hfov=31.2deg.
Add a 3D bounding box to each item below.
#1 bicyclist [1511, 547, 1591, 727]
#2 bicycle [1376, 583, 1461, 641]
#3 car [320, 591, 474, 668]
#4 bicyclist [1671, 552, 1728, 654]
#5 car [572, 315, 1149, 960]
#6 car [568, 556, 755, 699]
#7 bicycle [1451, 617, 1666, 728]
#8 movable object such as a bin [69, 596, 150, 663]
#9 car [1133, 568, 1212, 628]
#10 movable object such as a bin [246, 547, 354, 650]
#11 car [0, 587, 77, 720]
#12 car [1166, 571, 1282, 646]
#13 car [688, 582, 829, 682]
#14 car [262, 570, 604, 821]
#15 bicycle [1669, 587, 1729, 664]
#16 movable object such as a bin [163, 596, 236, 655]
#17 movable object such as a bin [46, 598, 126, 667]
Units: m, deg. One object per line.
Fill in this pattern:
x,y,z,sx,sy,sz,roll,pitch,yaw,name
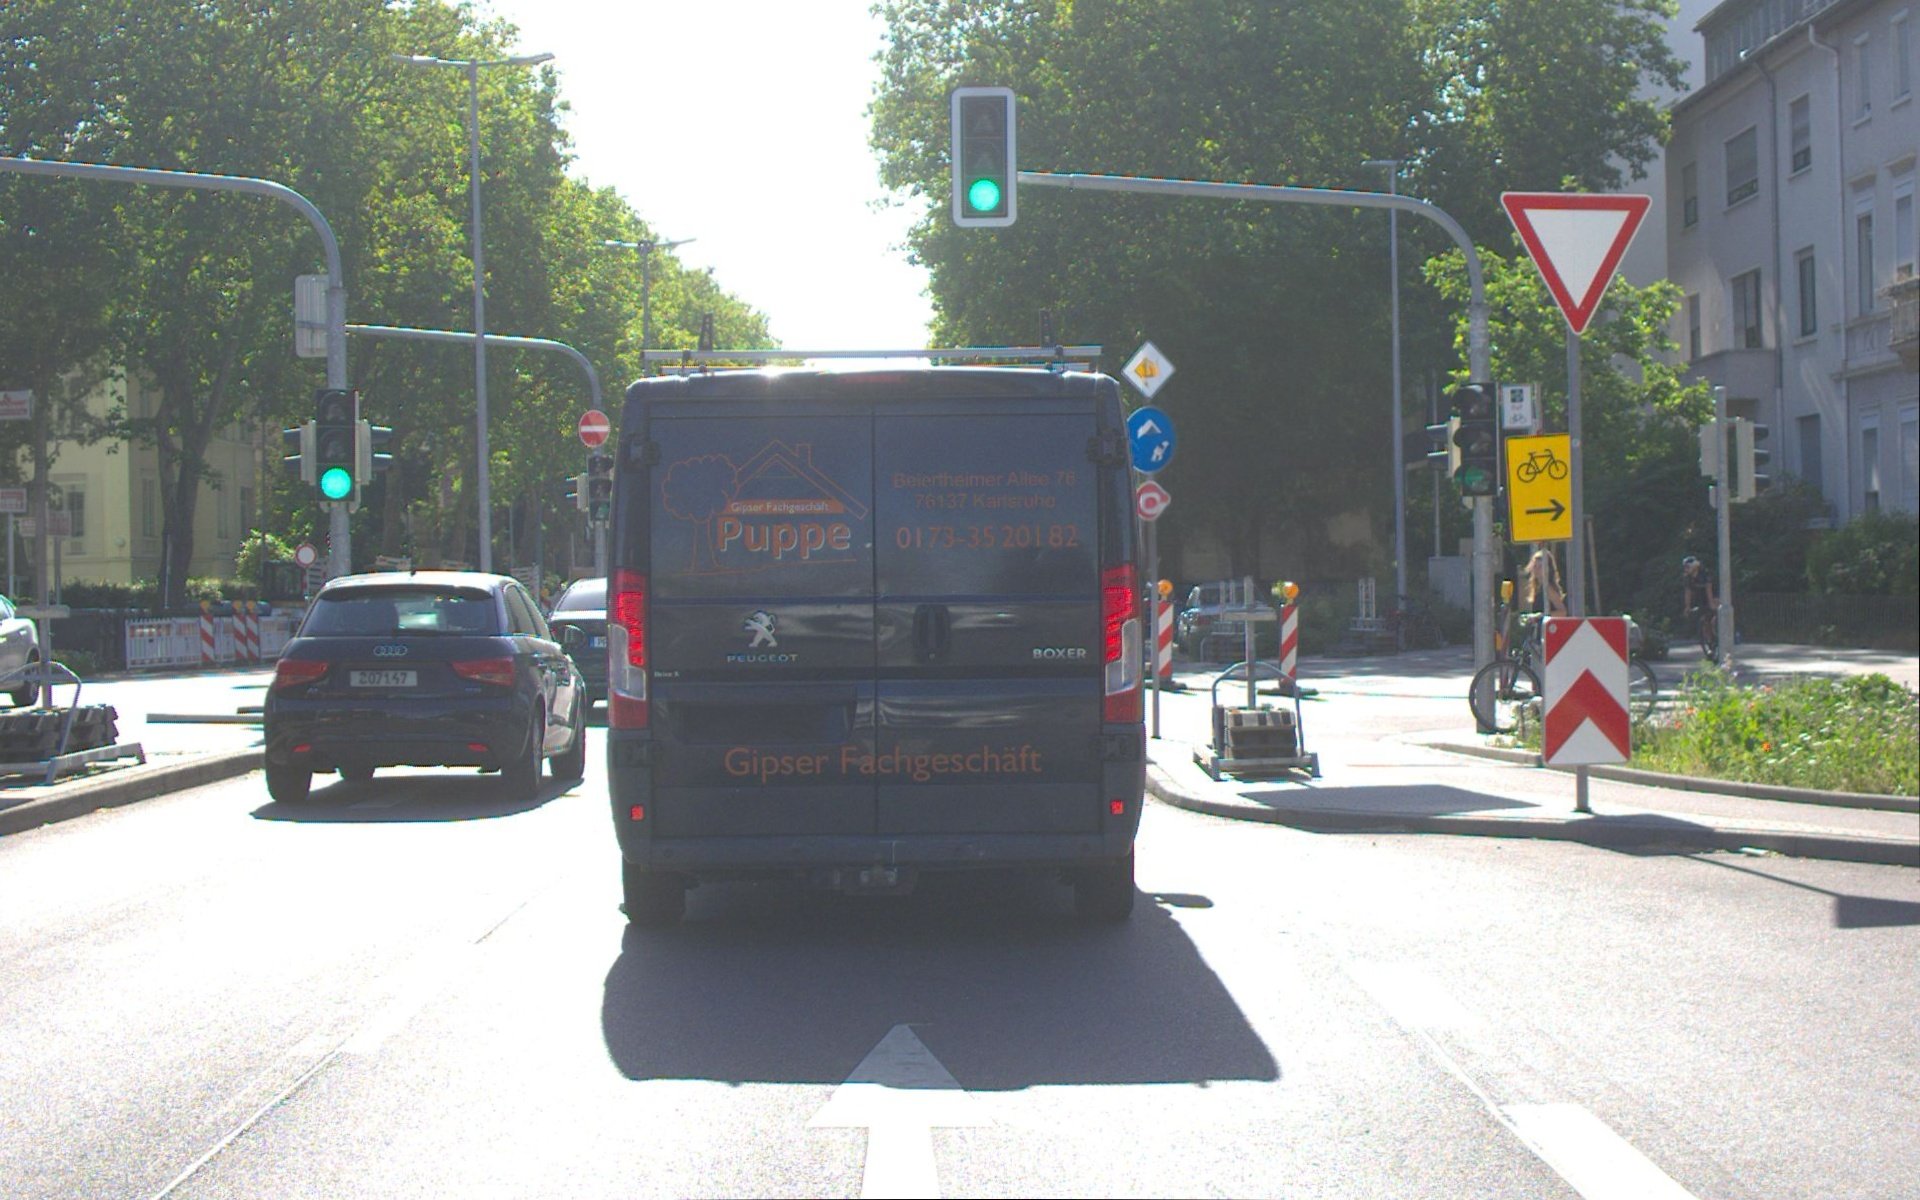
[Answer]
5.706,0.347,33.223,0.603,1.702,0.858,-1,1,0,bicyclist
8.197,0.206,61.425,0.588,1.002,2.127,0,0,35,bicycle
-10.654,0.542,65.349,1.931,1.341,4.316,-1,1,4,car
10.967,0.040,50.961,0.724,1.494,0.870,-1,1,18,bicyclist
-0.387,0.102,14.485,2.095,2.347,3.933,0,1,-1,car
-3.123,0.253,36.580,1.746,1.402,4.000,0,1,-2,car
5.765,0.696,33.172,1.962,1.021,0.605,1,1,0,bicycle
-18.109,0.617,73.255,1.214,1.383,1.855,-1,0,2,movable object such as a bin
5.501,-0.054,89.391,1.763,1.503,4.251,-1,0,0,car
-17.969,-0.056,93.799,2.146,2.697,5.355,-1,0,-3,movable object such as a bin
-11.936,0.598,40.134,1.993,1.448,4.390,2,1,1,car
5.354,0.149,70.164,1.852,1.474,4.942,-1,0,-1,car
-3.133,0.471,54.246,1.911,1.439,4.602,1,1,1,car
-3.361,0.556,22.577,1.746,1.402,4.001,0,2,-2,car
10.957,0.375,50.923,0.689,1.094,1.685,-1,1,18,bicycle
-17.754,0.592,80.261,1.410,1.333,1.156,-1,0,2,movable object such as a bin
-18.014,0.666,70.918,1.114,1.383,1.855,-1,0,2,movable object such as a bin
